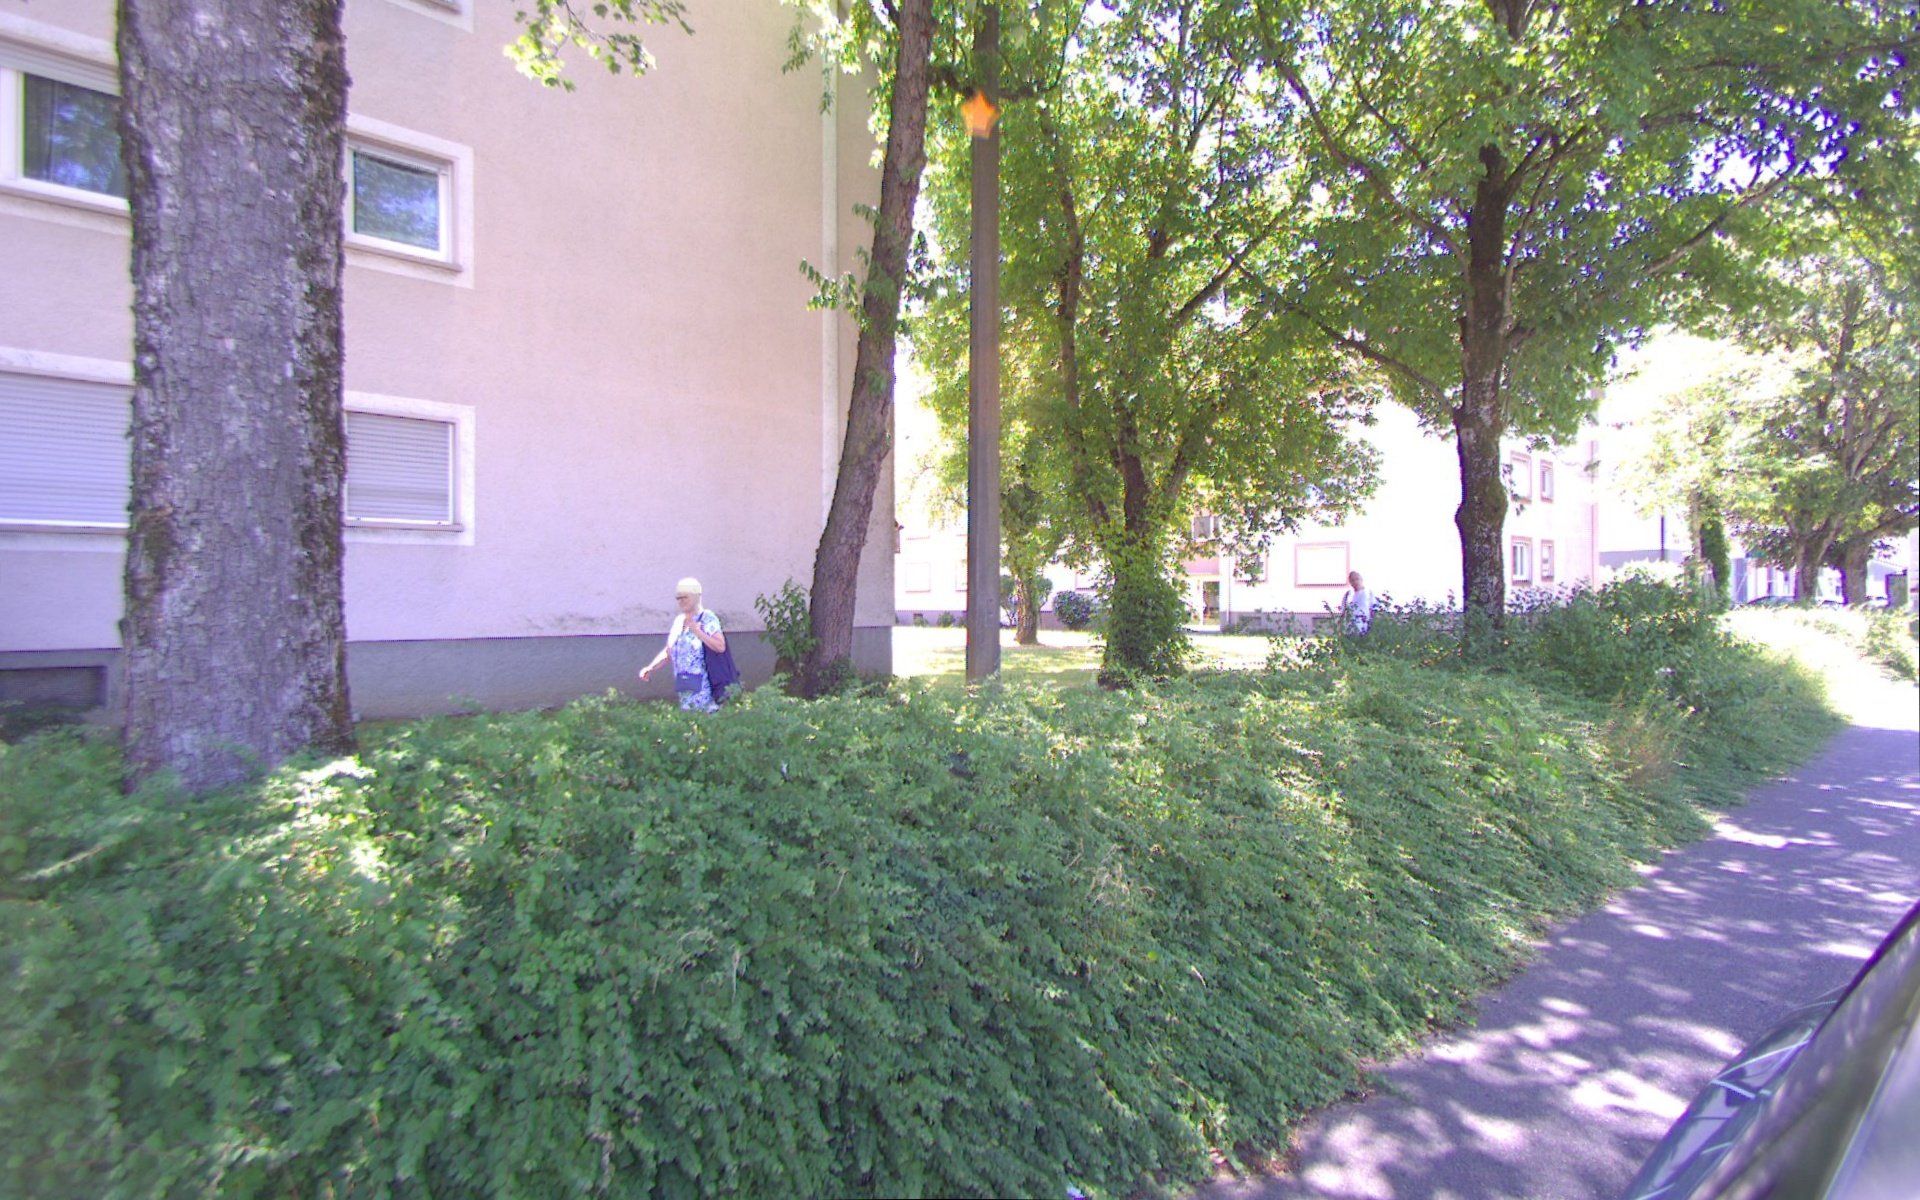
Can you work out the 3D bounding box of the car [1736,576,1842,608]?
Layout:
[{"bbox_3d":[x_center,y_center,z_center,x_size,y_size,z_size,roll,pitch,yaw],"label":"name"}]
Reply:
[{"bbox_3d":[43.012,-0.434,52.558,1.766,1.569,3.994,-1,2,-41],"label":"car"}]

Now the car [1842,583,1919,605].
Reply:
[{"bbox_3d":[70.822,-0.496,77.506,1.958,1.662,4.606,-1,1,-21],"label":"car"}]

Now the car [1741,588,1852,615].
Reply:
[{"bbox_3d":[45.416,0.074,55.080,4.315,1.388,1.937,0,1,27],"label":"car"}]

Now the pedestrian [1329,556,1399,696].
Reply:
[{"bbox_3d":[5.747,0.350,14.413,0.648,1.938,0.705,0,0,-38],"label":"pedestrian"}]

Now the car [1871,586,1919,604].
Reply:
[{"bbox_3d":[76.316,-0.417,81.523,1.768,1.479,4.007,-1,1,-25],"label":"car"}]

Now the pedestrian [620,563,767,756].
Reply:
[{"bbox_3d":[-2.011,0.410,7.652,0.873,1.351,0.662,-1,0,-41],"label":"pedestrian"}]
